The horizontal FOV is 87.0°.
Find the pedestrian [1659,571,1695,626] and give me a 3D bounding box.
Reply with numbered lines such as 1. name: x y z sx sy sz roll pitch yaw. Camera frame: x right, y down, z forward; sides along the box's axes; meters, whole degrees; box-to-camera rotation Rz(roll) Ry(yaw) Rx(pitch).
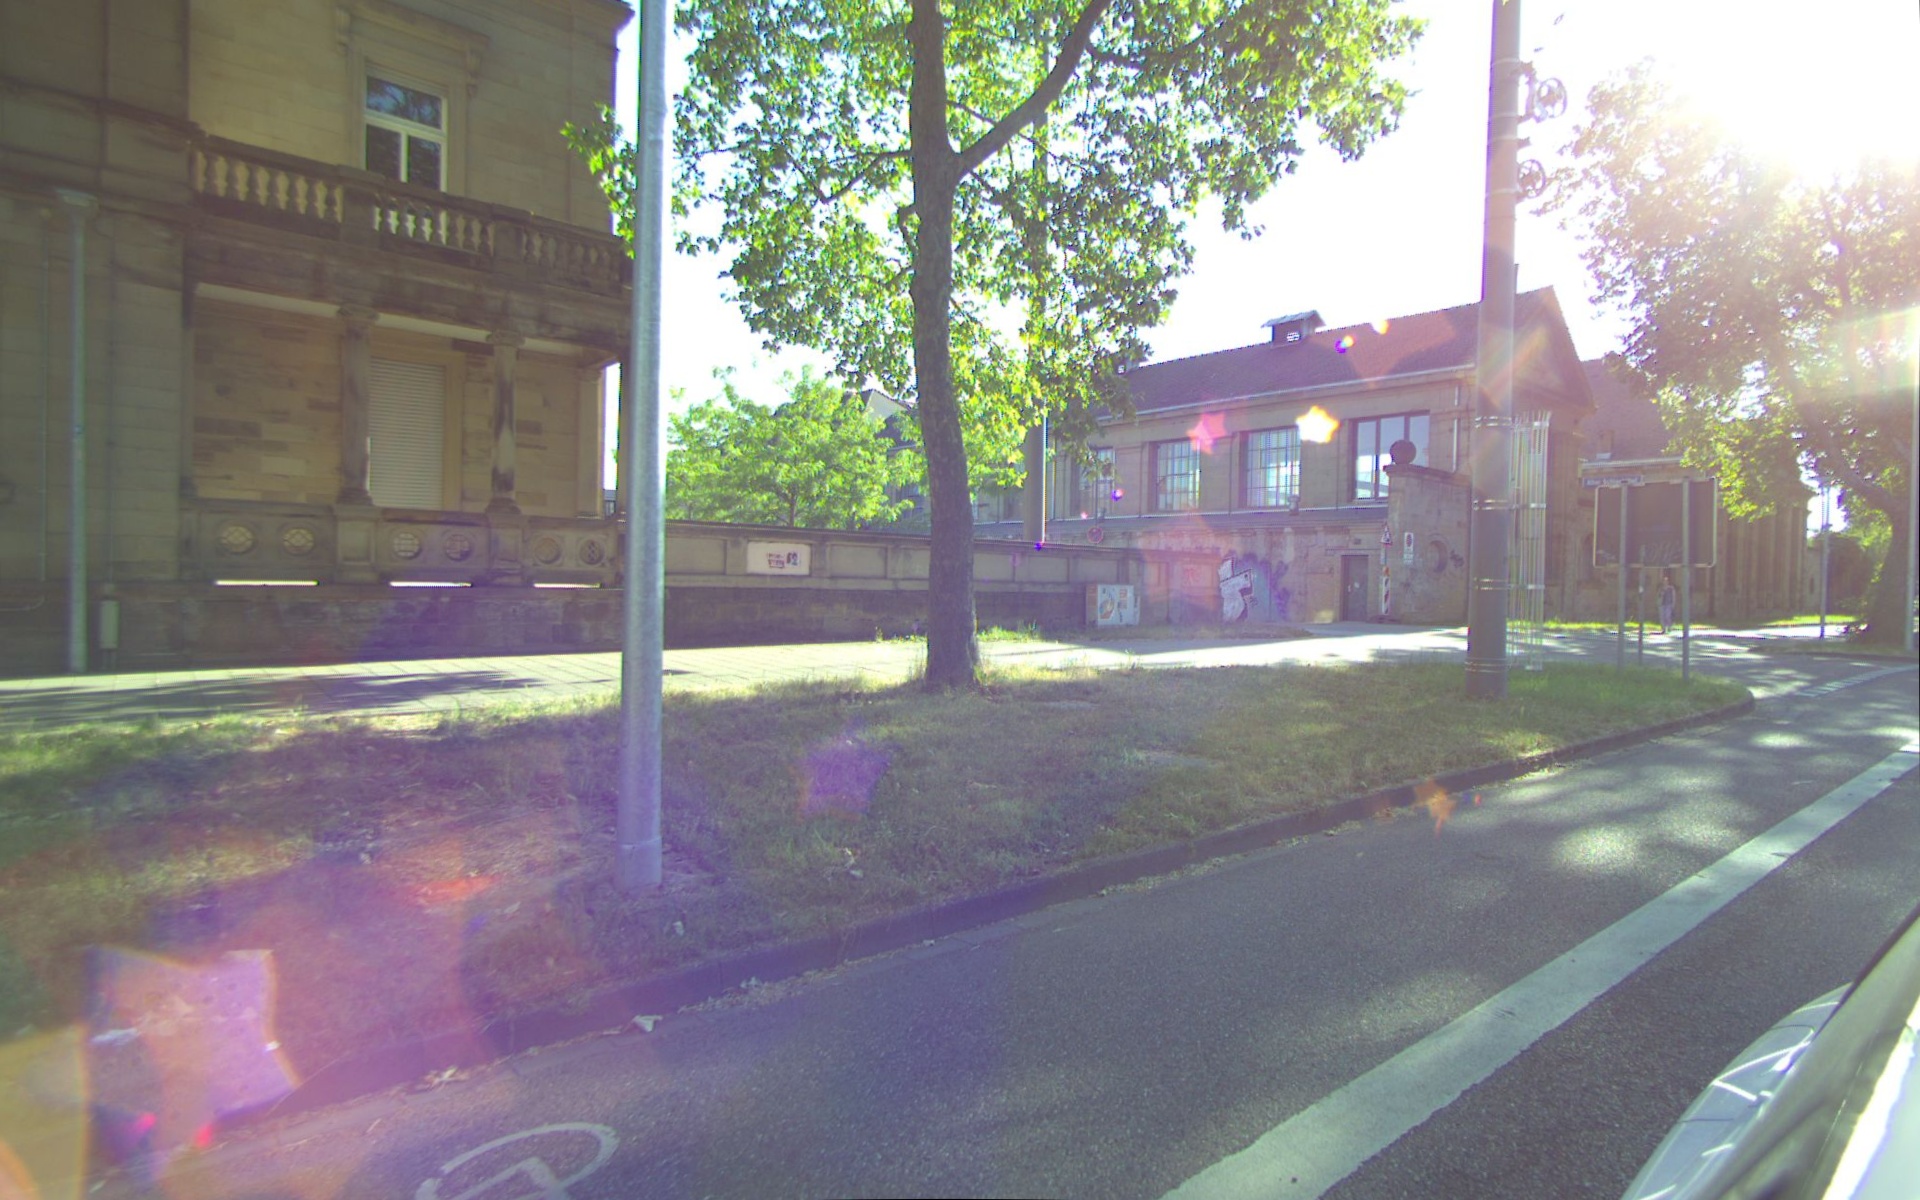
1. pedestrian: 22.580 -0.042 31.862 0.858 1.682 0.672 0 2 -39
